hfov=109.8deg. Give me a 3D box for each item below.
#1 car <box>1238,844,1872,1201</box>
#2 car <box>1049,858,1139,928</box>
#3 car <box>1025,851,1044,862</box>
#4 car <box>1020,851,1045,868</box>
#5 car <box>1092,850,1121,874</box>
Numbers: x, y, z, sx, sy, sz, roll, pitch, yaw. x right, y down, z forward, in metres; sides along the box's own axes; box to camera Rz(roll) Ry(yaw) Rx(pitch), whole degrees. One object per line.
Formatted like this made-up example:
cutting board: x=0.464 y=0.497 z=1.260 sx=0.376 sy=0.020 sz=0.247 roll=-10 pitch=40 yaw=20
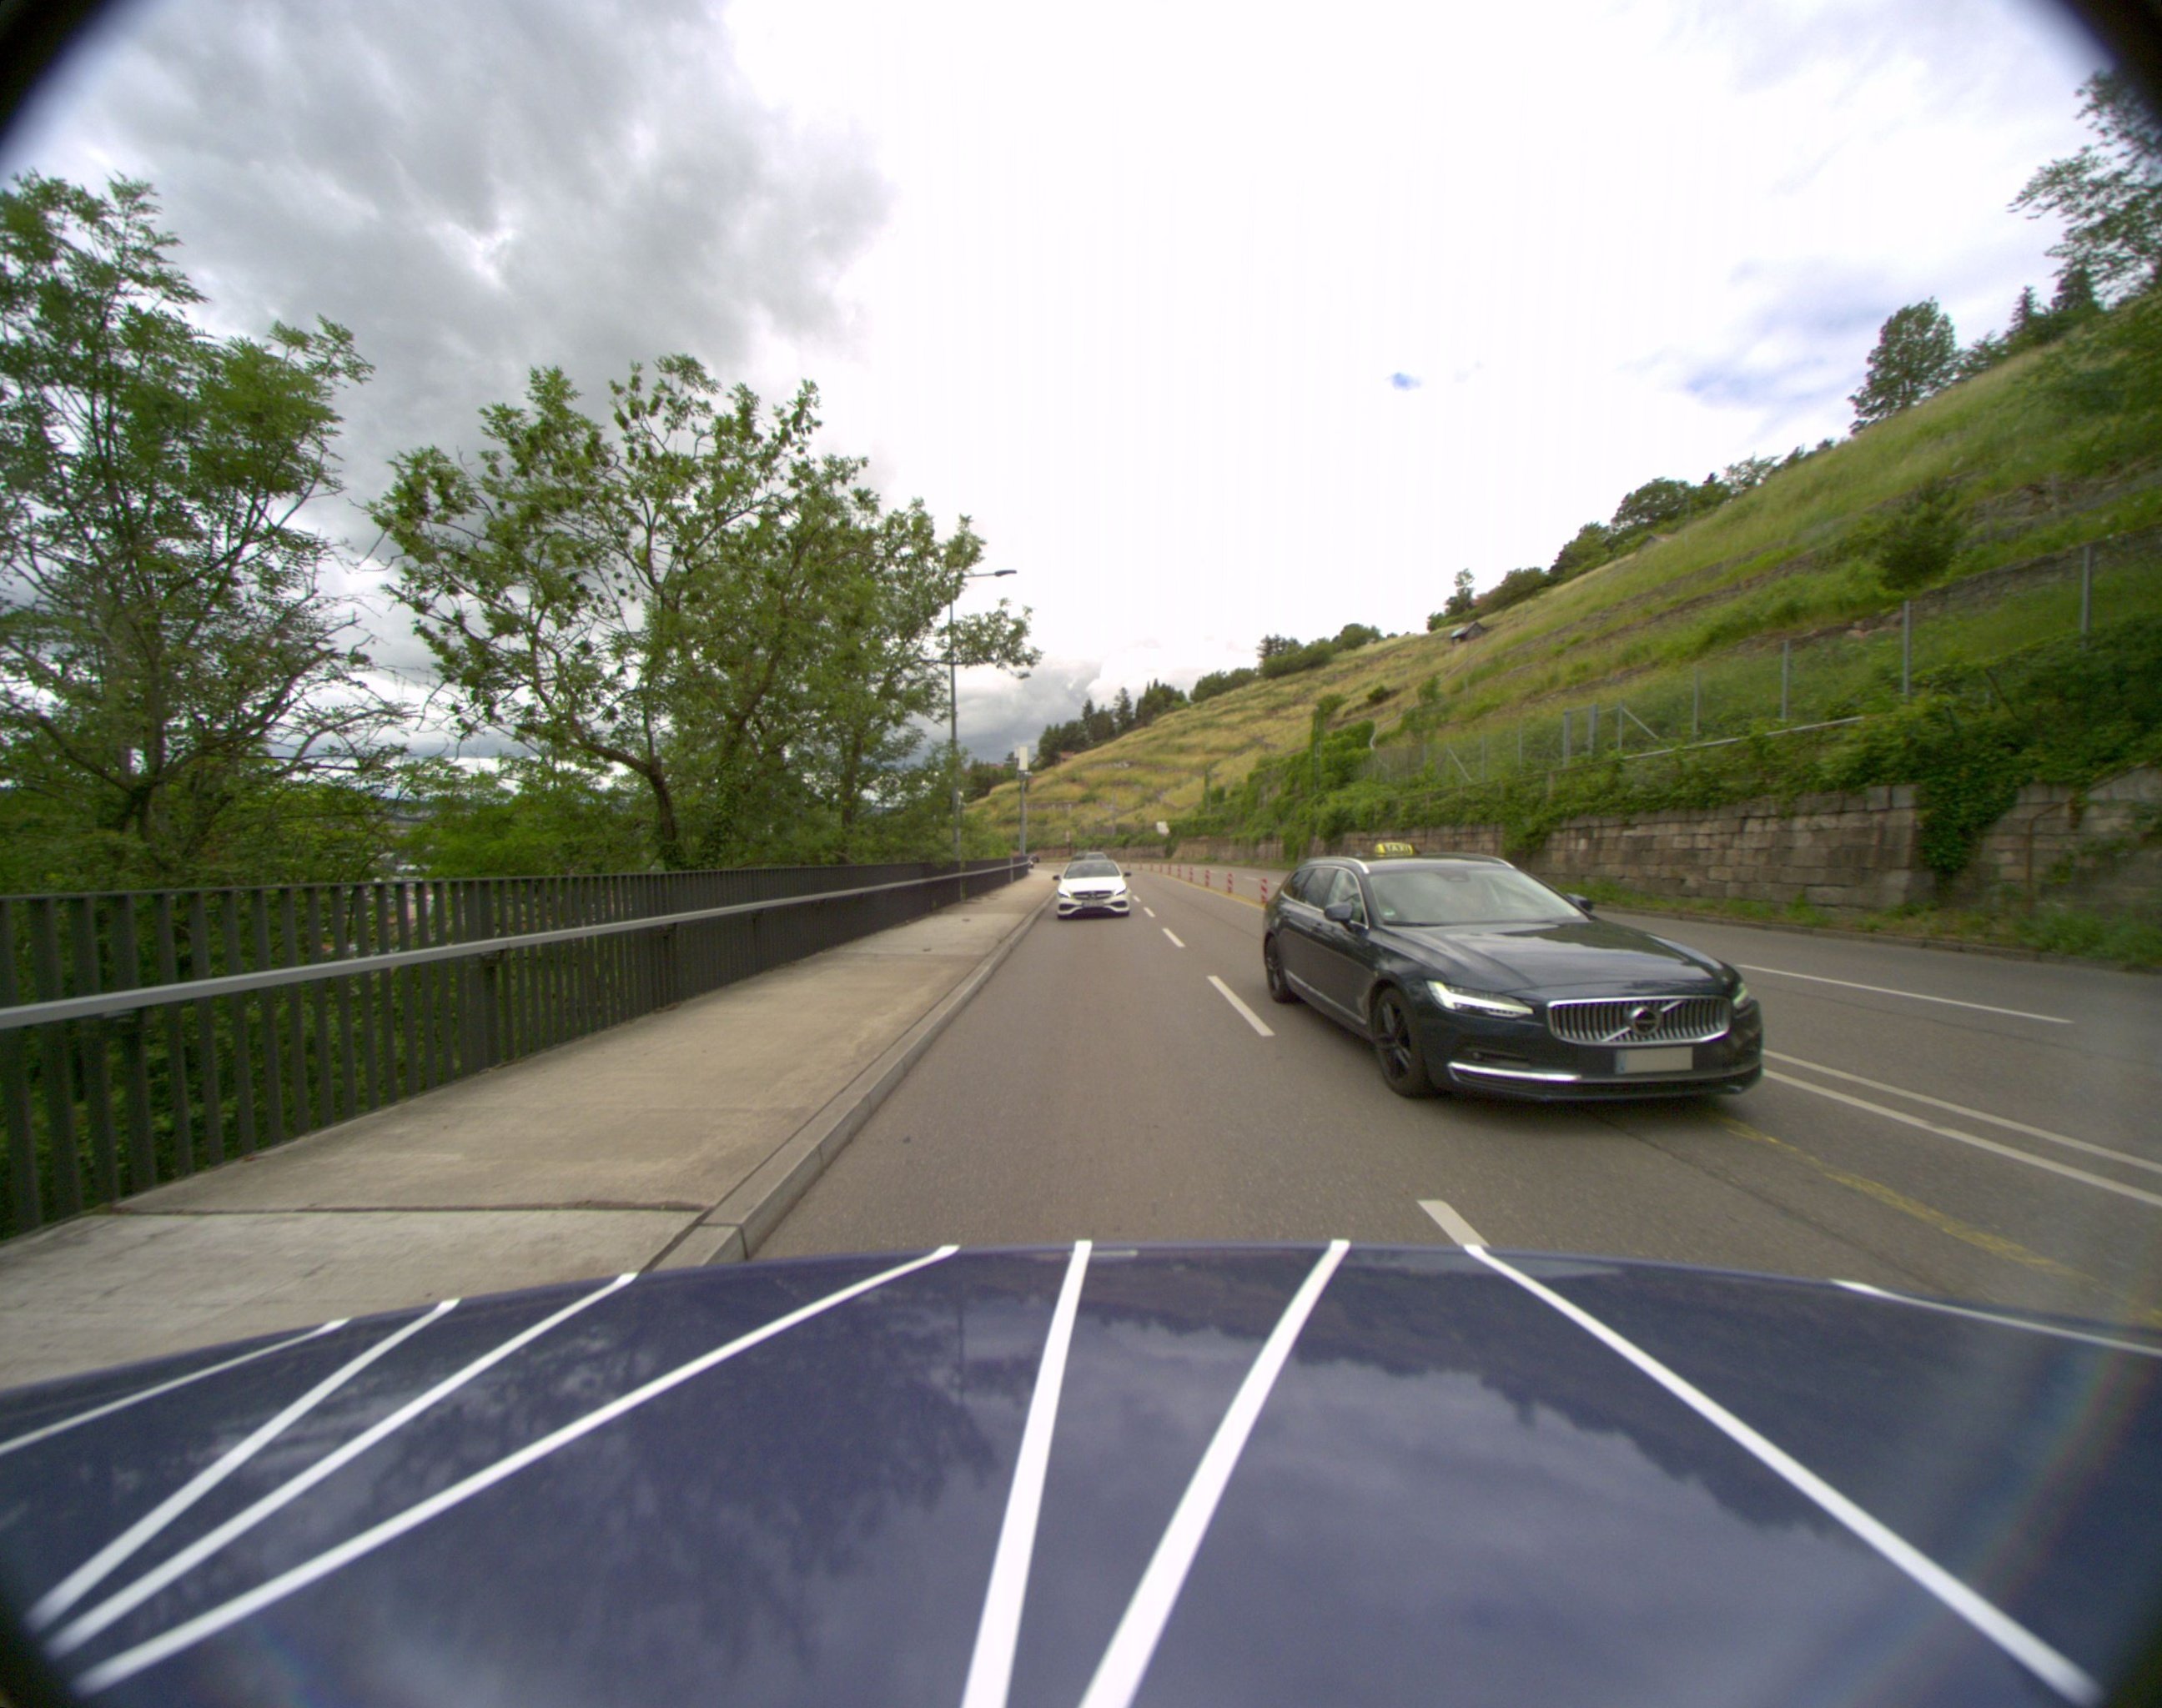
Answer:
car: x=2.724 y=0.773 z=6.049 sx=1.939 sy=1.567 sz=5.027 roll=-3 pitch=0 yaw=1
car: x=0.328 y=0.902 z=18.945 sx=1.903 sy=1.418 sz=4.266 roll=-4 pitch=-1 yaw=1
car: x=-6.717 y=0.354 z=109.908 sx=1.602 sy=1.420 sz=3.993 roll=-4 pitch=1 yaw=-19
car: x=-5.641 y=0.630 z=88.321 sx=2.001 sy=1.756 sz=3.994 roll=-2 pitch=0 yaw=-16
car: x=1.587 y=0.477 z=49.078 sx=1.645 sy=1.381 sz=3.999 roll=-4 pitch=1 yaw=0
